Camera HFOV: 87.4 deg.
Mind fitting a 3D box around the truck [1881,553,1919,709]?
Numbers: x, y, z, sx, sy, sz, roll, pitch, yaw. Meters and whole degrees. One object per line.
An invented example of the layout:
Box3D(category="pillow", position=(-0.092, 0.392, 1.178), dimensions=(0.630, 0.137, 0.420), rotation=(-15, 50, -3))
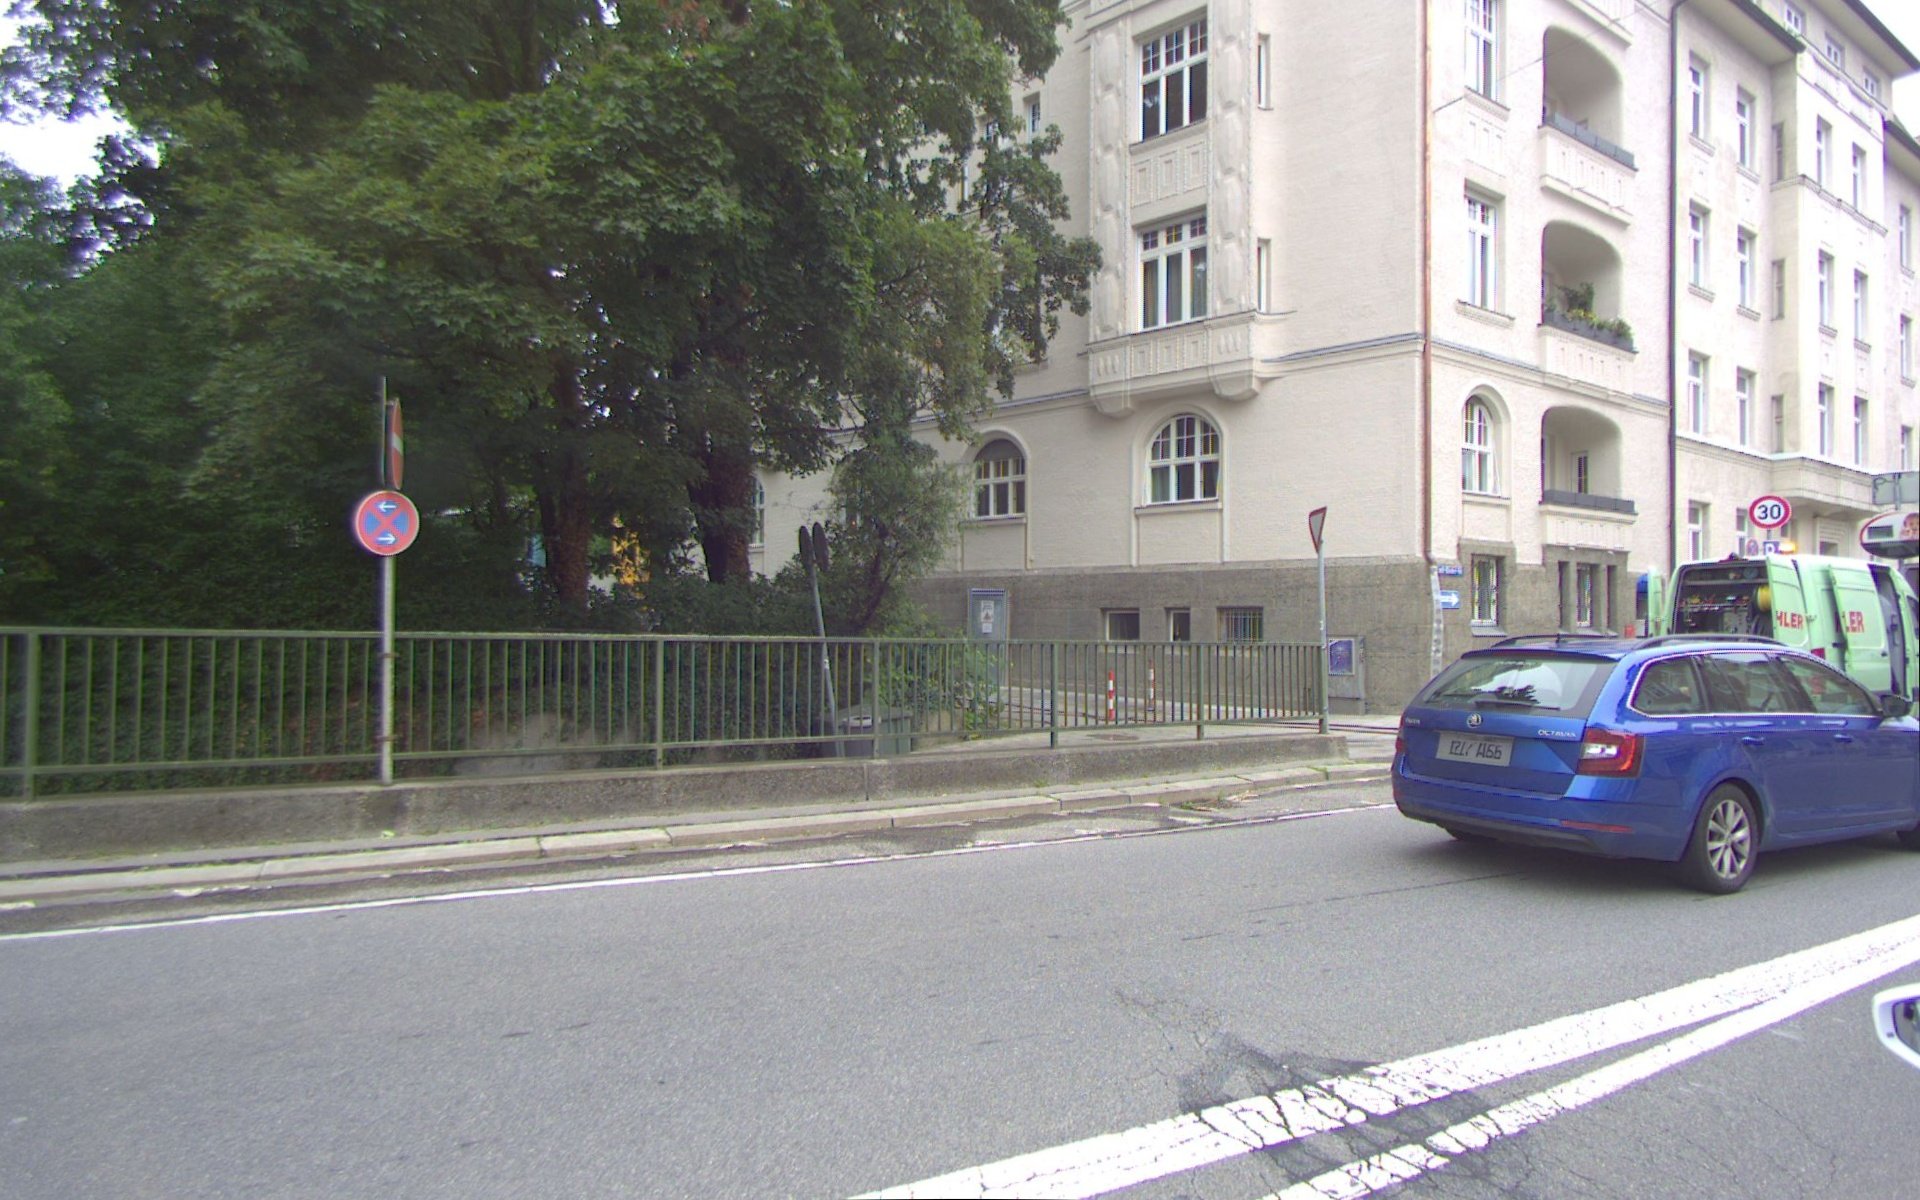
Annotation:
Box3D(category="truck", position=(21.338, 0.575, 19.954), dimensions=(7.123, 2.911, 2.758), rotation=(0, -1, -33))

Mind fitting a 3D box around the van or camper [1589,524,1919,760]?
Box3D(category="van or camper", position=(12.319, 0.544, 14.974), dimensions=(6.116, 2.878, 2.587), rotation=(0, -1, -32))

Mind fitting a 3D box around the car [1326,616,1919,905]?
Box3D(category="car", position=(5.054, 0.913, 7.027), dimensions=(4.669, 1.473, 1.982), rotation=(2, -2, -25))
